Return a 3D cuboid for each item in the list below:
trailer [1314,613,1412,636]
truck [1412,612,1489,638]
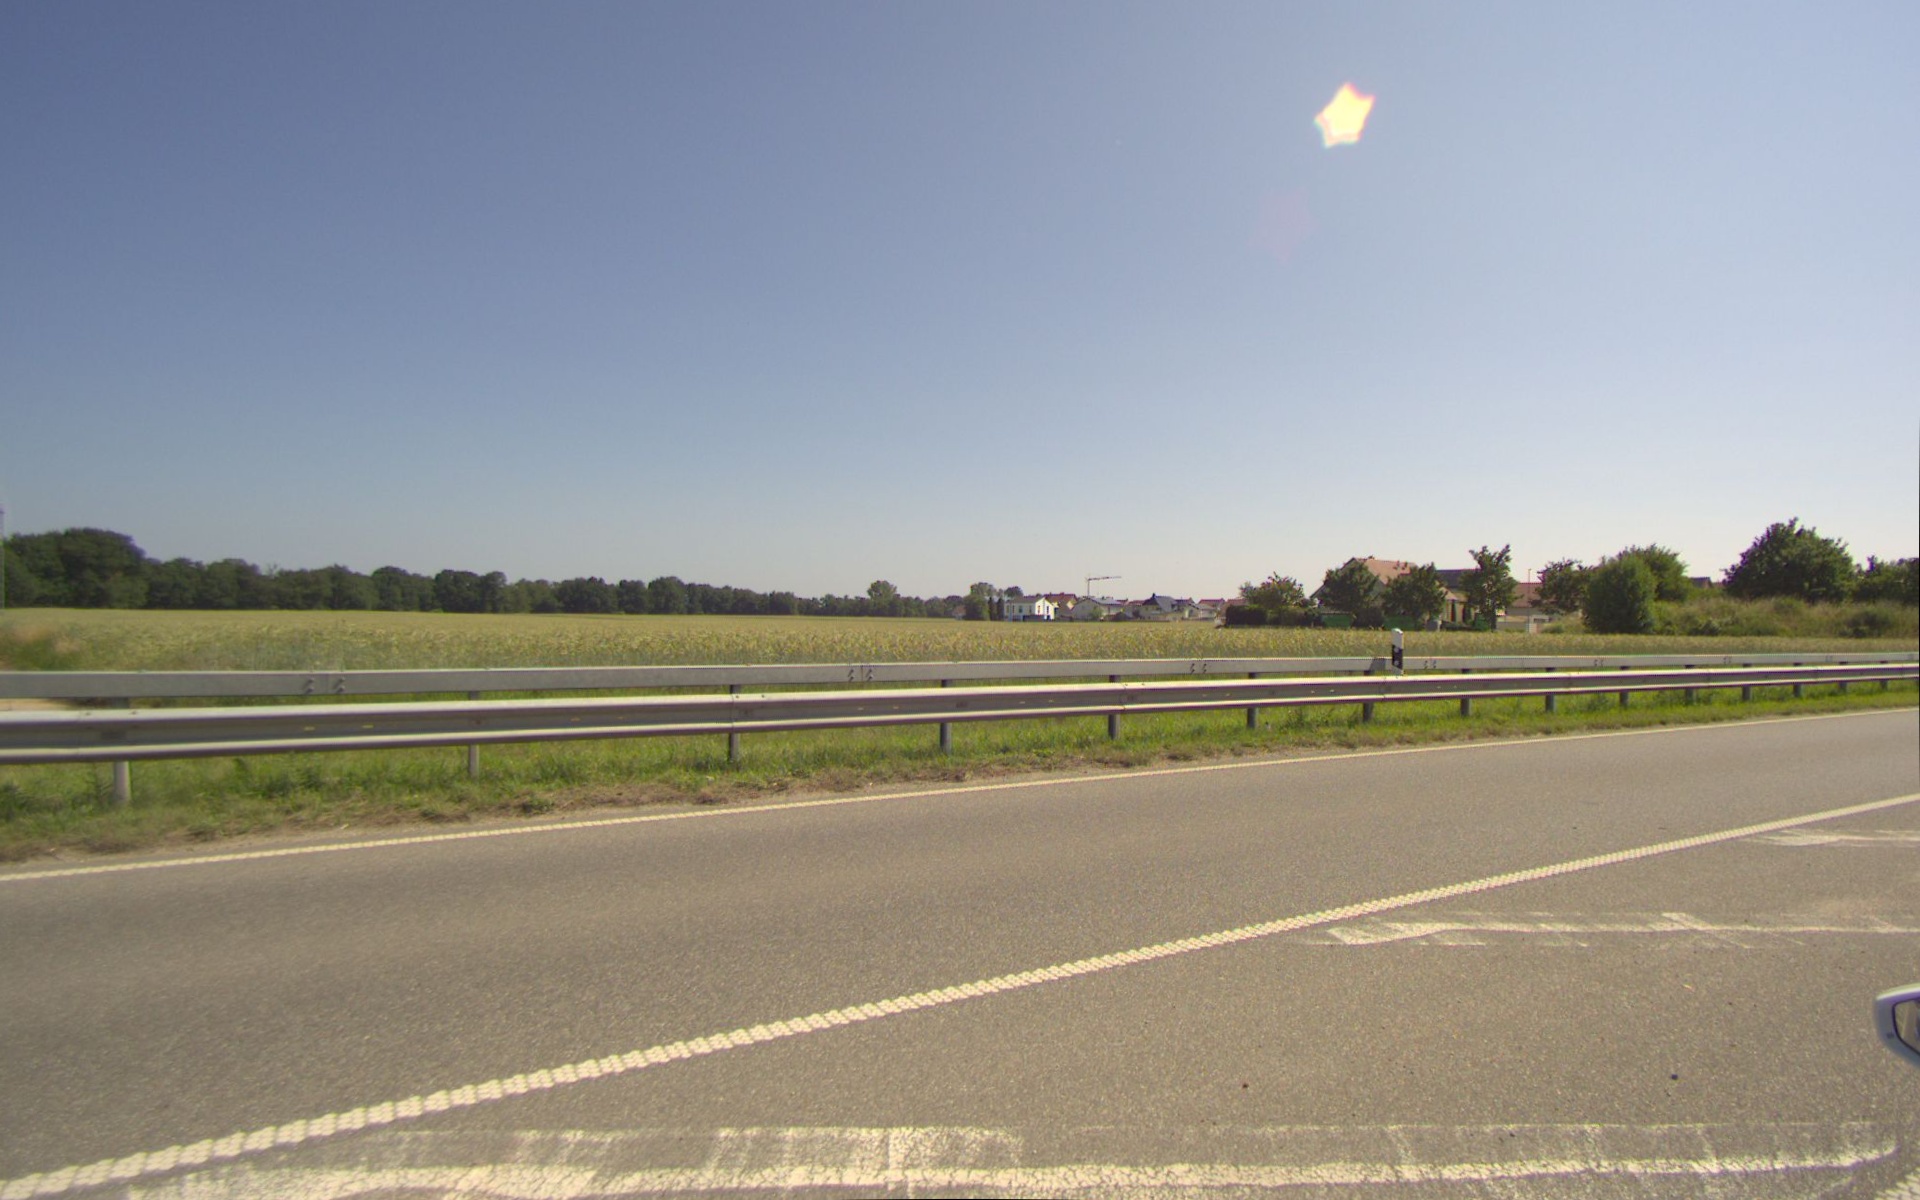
[{"bbox_3d":[46.006,2.735,114.747,10.292,2.308,1.999,1,0,24],"label":"trailer"},{"bbox_3d":[54.029,2.725,110.862,7.540,2.684,2.520,1,0,24],"label":"truck"}]
